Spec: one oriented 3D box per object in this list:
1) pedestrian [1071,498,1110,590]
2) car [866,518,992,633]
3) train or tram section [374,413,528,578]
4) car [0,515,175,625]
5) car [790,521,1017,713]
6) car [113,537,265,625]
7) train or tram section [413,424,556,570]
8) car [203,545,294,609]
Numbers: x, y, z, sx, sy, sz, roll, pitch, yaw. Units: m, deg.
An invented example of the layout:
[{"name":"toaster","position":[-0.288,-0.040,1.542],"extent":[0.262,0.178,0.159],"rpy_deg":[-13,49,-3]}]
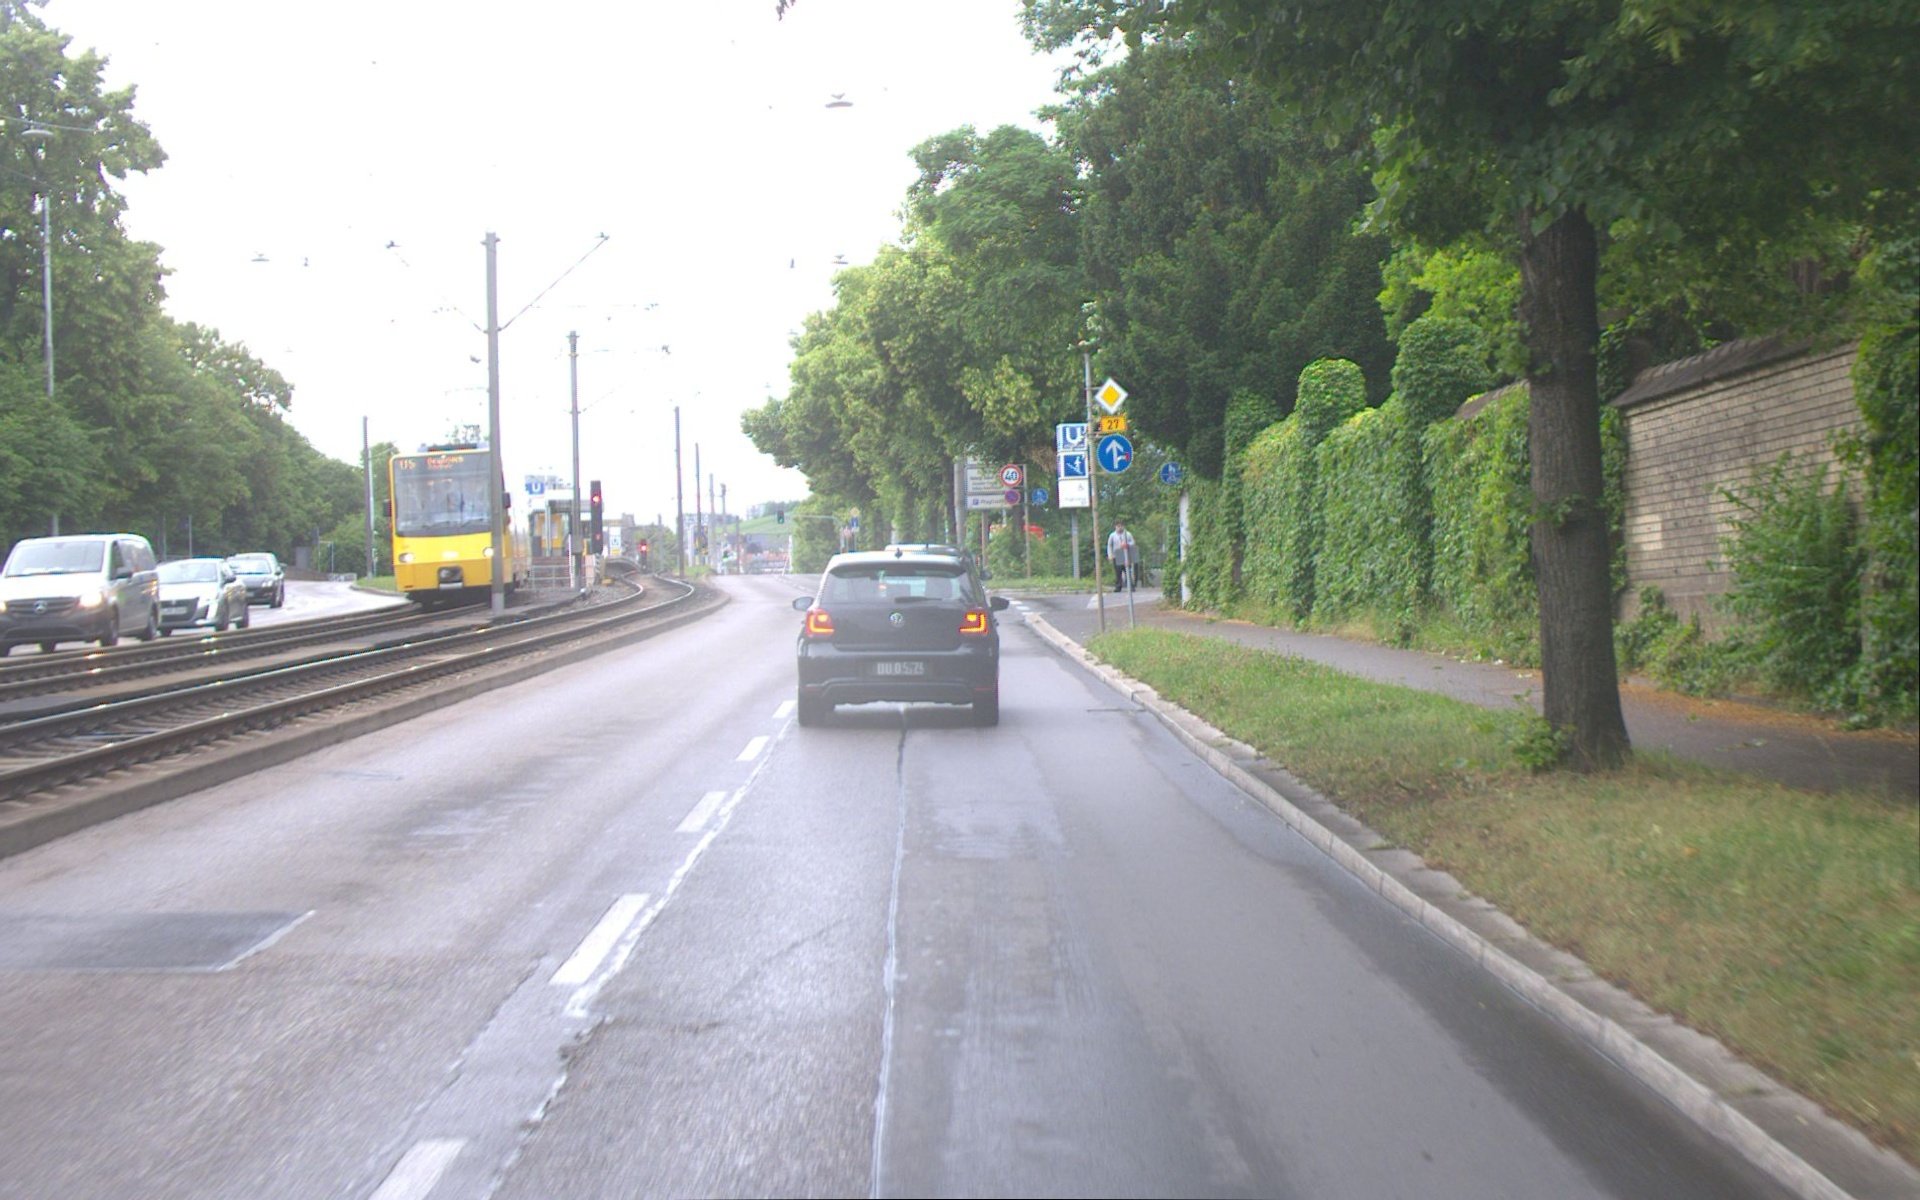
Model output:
[{"name":"pedestrian","position":[4.225,-1.822,111.402],"extent":[1.164,2.967,0.948],"rpy_deg":[0,1,-1]},{"name":"car","position":[-0.433,-0.376,48.733],"extent":[1.676,1.525,3.722],"rpy_deg":[-1,2,0]},{"name":"train or tram section","position":[-11.742,-2.405,80.002],"extent":[2.831,3.593,9.272],"rpy_deg":[0,1,-4]},{"name":"car","position":[-14.040,-0.514,54.823],"extent":[1.993,1.656,5.127],"rpy_deg":[0,1,-1]},{"name":"car","position":[-0.527,0.091,29.329],"extent":[1.794,1.480,3.965],"rpy_deg":[0,2,-2]},{"name":"car","position":[-14.614,-0.383,65.401],"extent":[1.993,1.570,4.536],"rpy_deg":[0,1,-1]},{"name":"train or tram section","position":[-12.244,-2.652,89.215],"extent":[2.832,3.593,9.272],"rpy_deg":[0,1,-3]},{"name":"car","position":[-19.200,-0.640,92.872],"extent":[1.733,1.656,4.001],"rpy_deg":[0,1,-1]}]
